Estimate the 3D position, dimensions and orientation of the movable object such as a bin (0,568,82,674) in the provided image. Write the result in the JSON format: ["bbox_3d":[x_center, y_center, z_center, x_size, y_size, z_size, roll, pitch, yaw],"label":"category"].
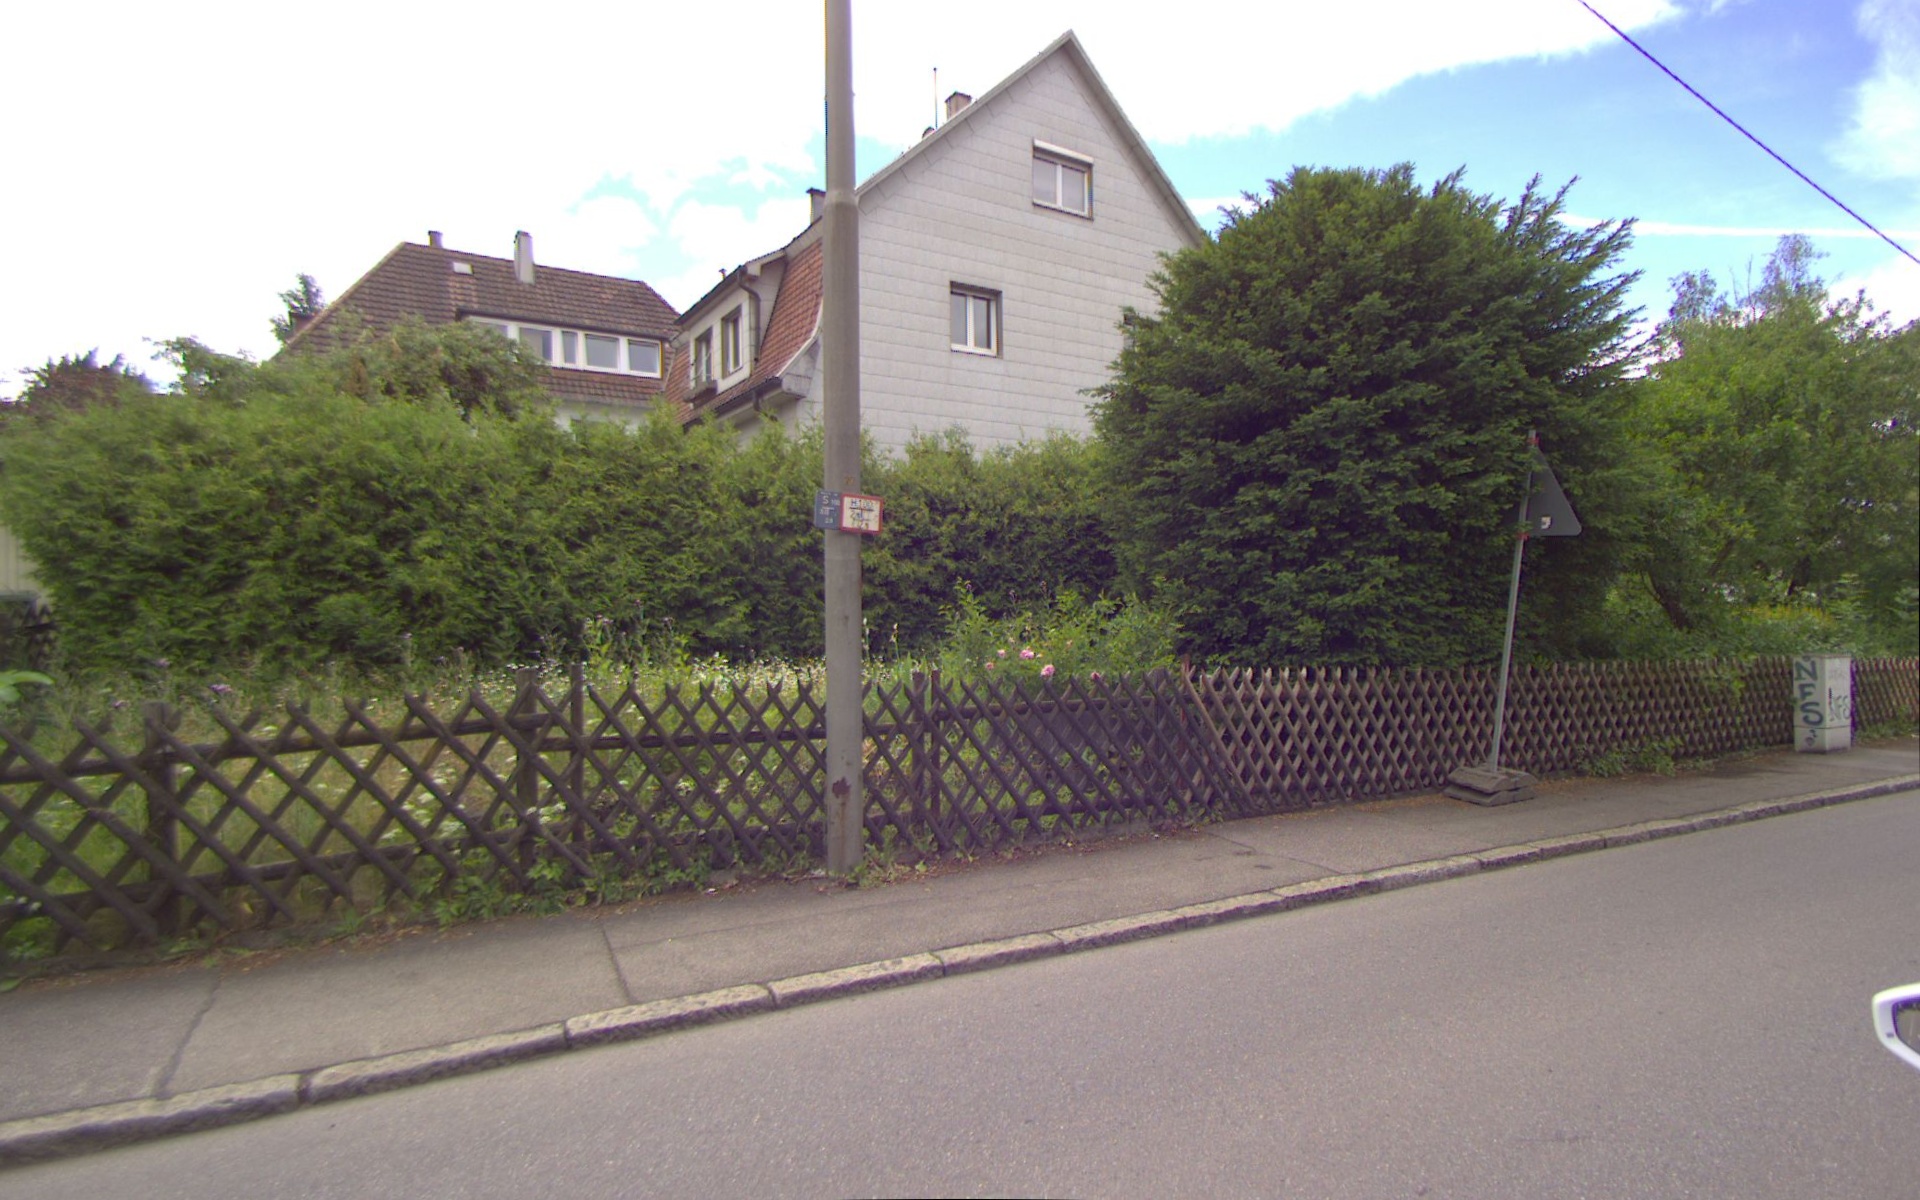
[{"bbox_3d":[-9.222,0.199,10.082,0.494,1.027,0.490,-2,2,-28],"label":"movable object such as a bin"}]
